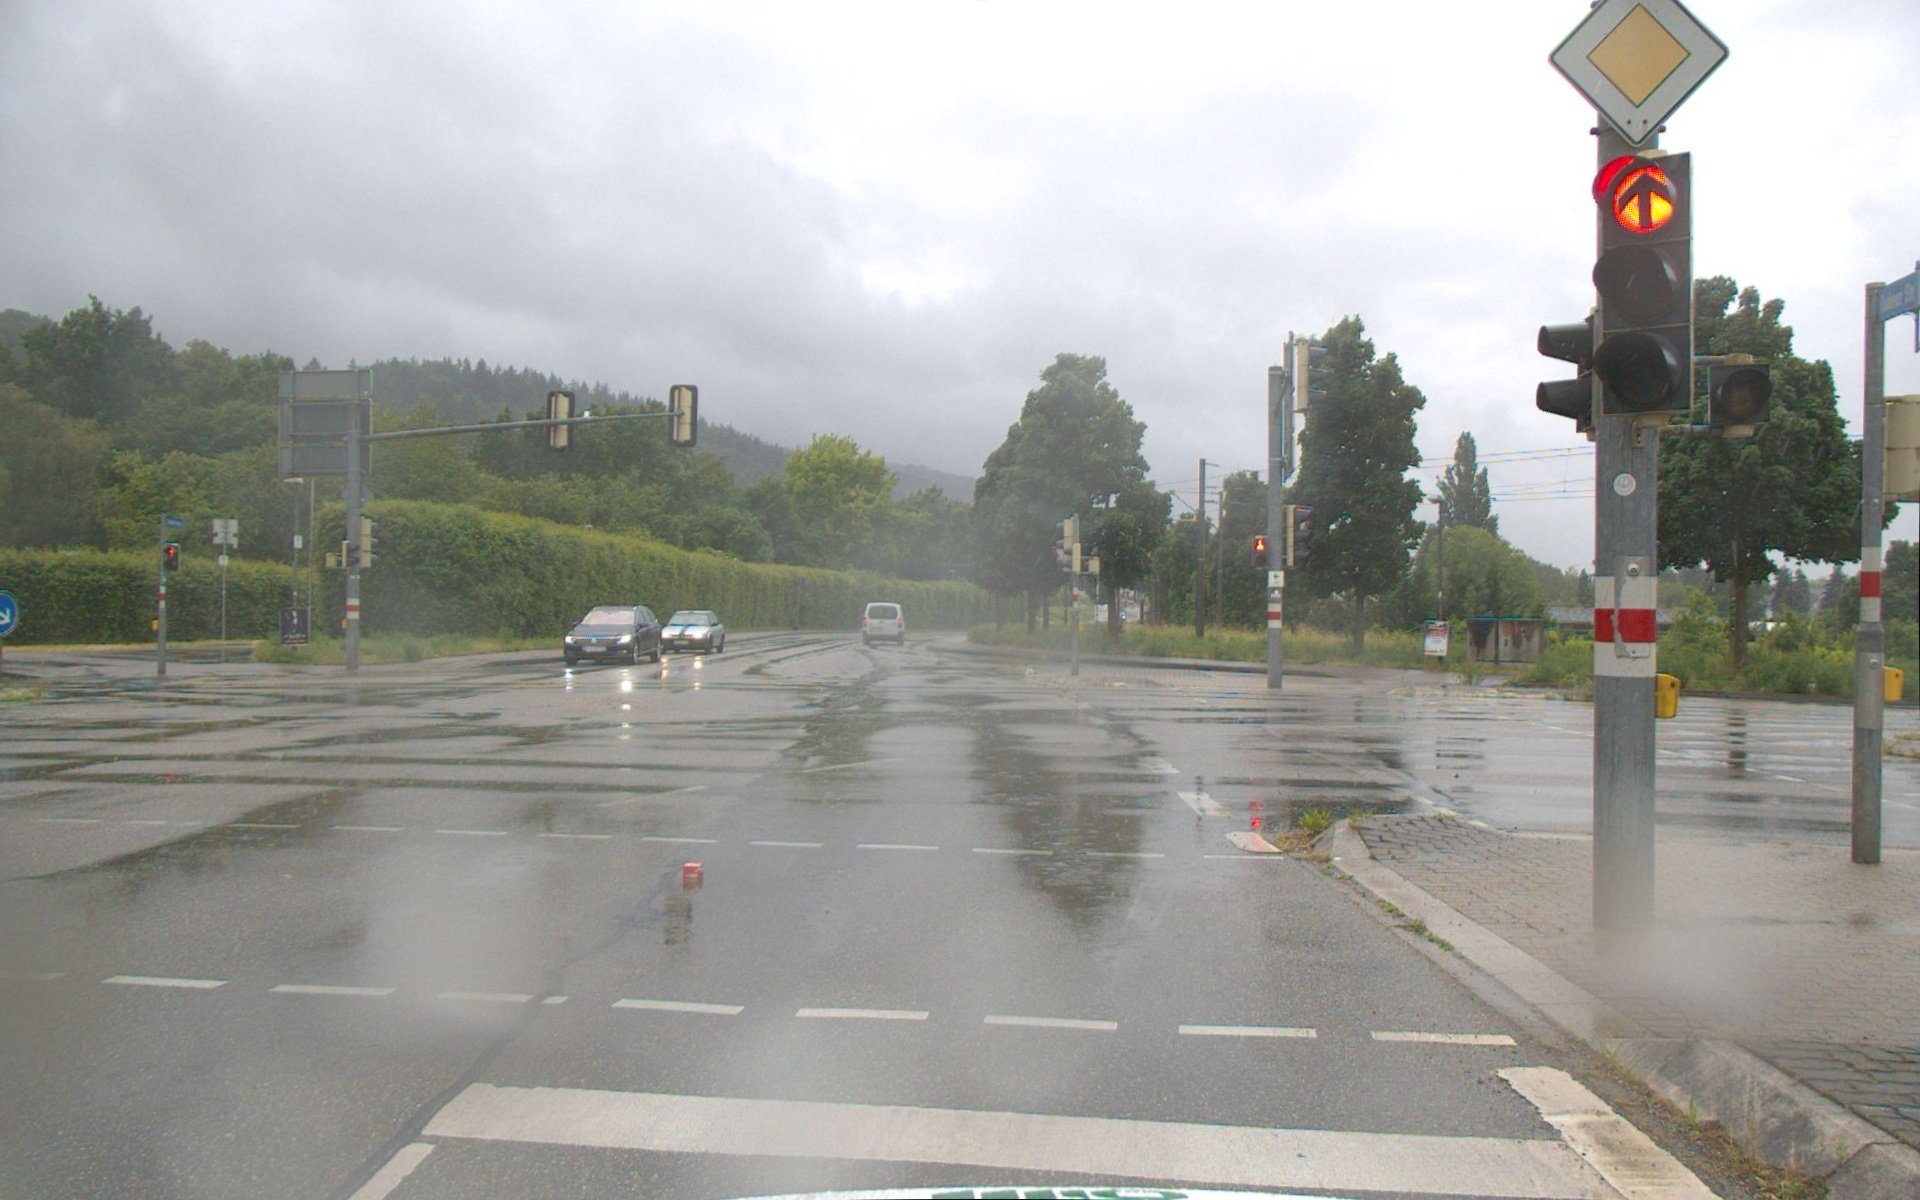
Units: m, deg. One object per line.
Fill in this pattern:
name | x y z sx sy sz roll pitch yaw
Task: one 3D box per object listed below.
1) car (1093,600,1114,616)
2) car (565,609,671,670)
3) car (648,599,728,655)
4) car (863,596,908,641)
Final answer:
car | 17.275 0.937 198.978 1.891 1.923 4.065 0 0 13
car | -8.888 1.003 43.324 1.673 1.491 4.454 0 0 2
car | -8.893 0.857 54.333 1.995 1.738 4.065 1 0 -1
car | -3.291 0.788 73.112 1.914 1.937 4.118 0 0 -3
